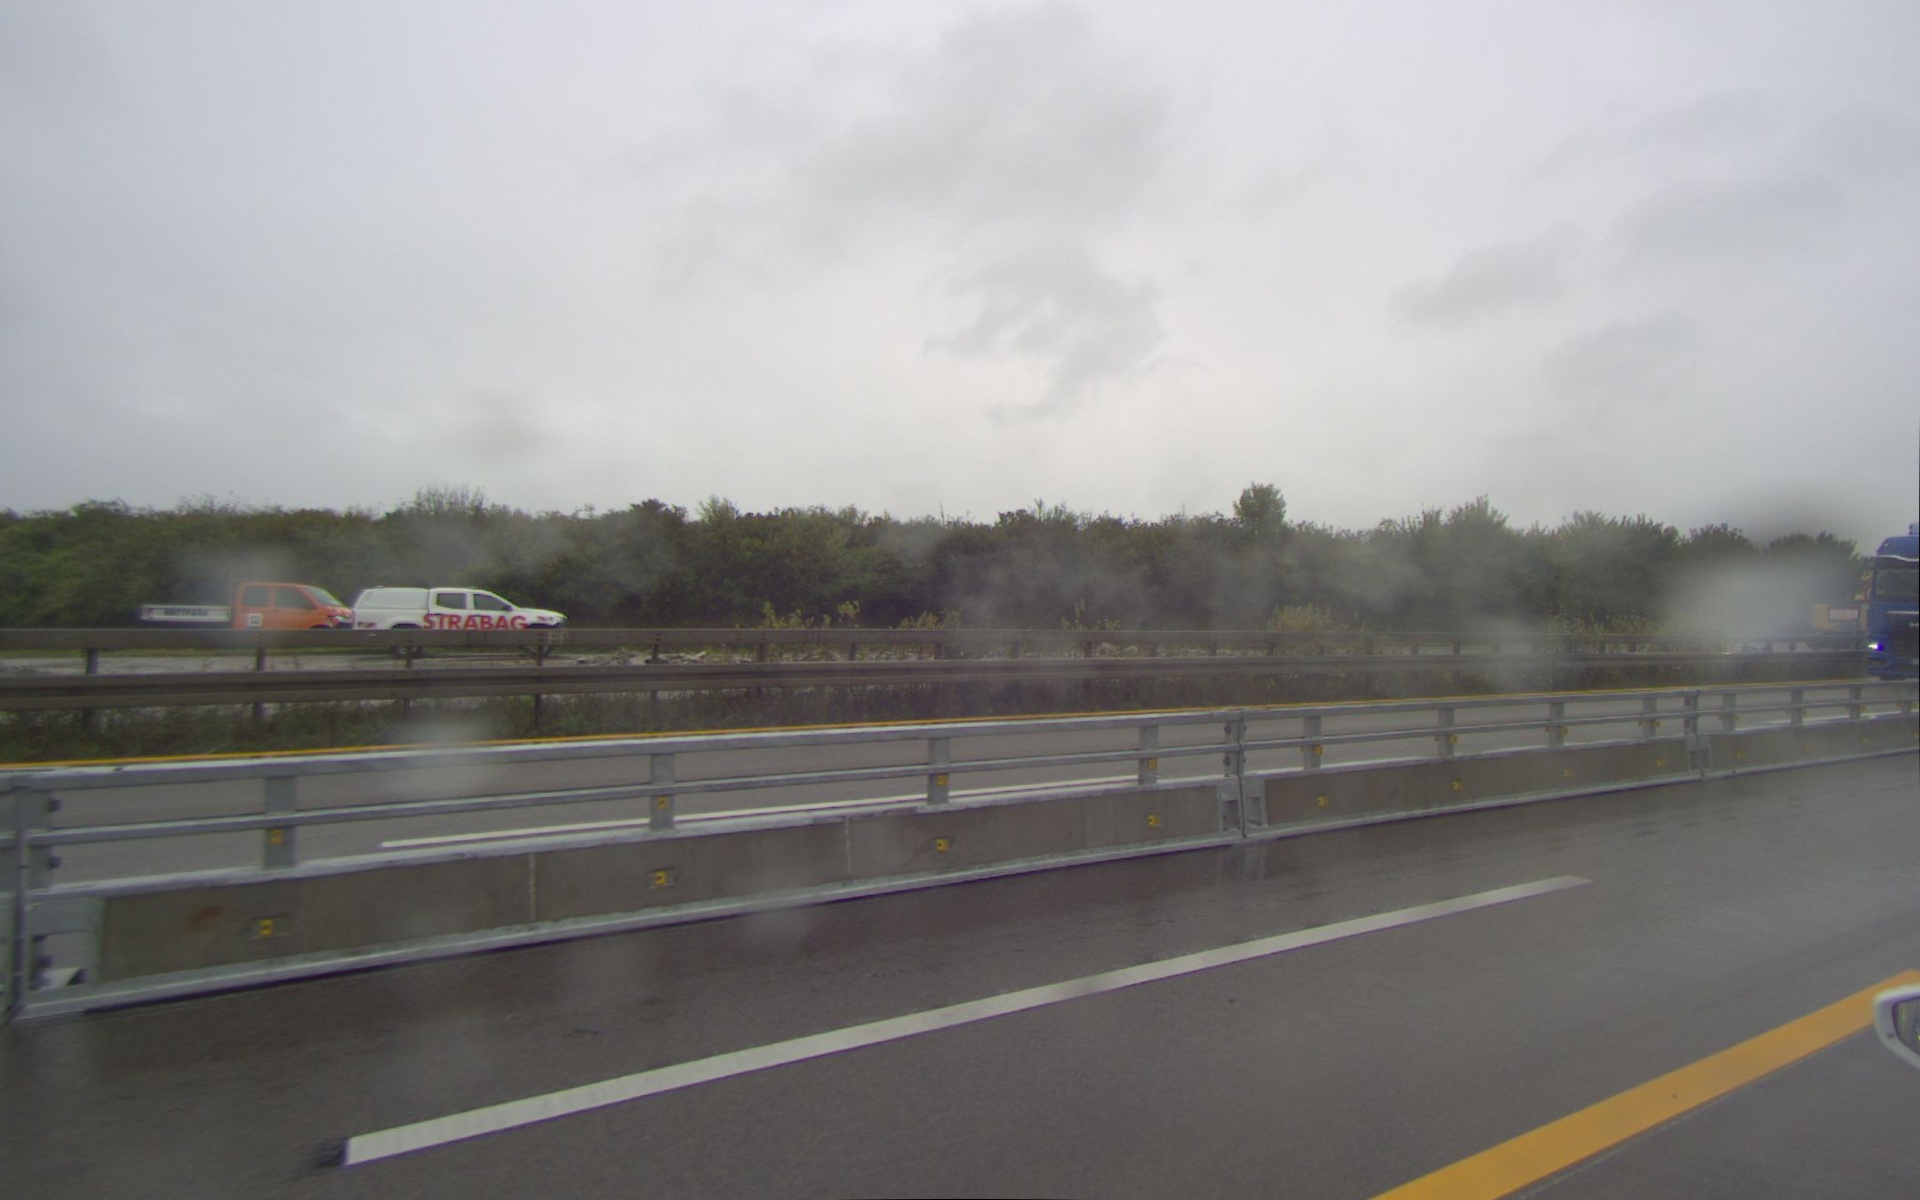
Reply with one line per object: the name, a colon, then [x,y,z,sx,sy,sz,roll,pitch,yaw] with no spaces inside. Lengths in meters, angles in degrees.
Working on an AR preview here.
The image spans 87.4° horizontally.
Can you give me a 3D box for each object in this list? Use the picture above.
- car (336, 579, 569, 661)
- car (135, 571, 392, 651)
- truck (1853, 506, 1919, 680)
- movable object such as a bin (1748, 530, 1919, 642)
car: [-13.340,0.528,26.612,5.302,1.992,2.083,1,0,-30]
car: [-19.656,0.332,28.635,5.477,2.104,2.367,1,0,-9]
truck: [25.798,-0.132,25.471,6.586,4.136,2.613,1,0,-29]
movable object such as a bin: [51.158,-0.674,58.367,10.902,5.994,4.156,1,1,-27]
